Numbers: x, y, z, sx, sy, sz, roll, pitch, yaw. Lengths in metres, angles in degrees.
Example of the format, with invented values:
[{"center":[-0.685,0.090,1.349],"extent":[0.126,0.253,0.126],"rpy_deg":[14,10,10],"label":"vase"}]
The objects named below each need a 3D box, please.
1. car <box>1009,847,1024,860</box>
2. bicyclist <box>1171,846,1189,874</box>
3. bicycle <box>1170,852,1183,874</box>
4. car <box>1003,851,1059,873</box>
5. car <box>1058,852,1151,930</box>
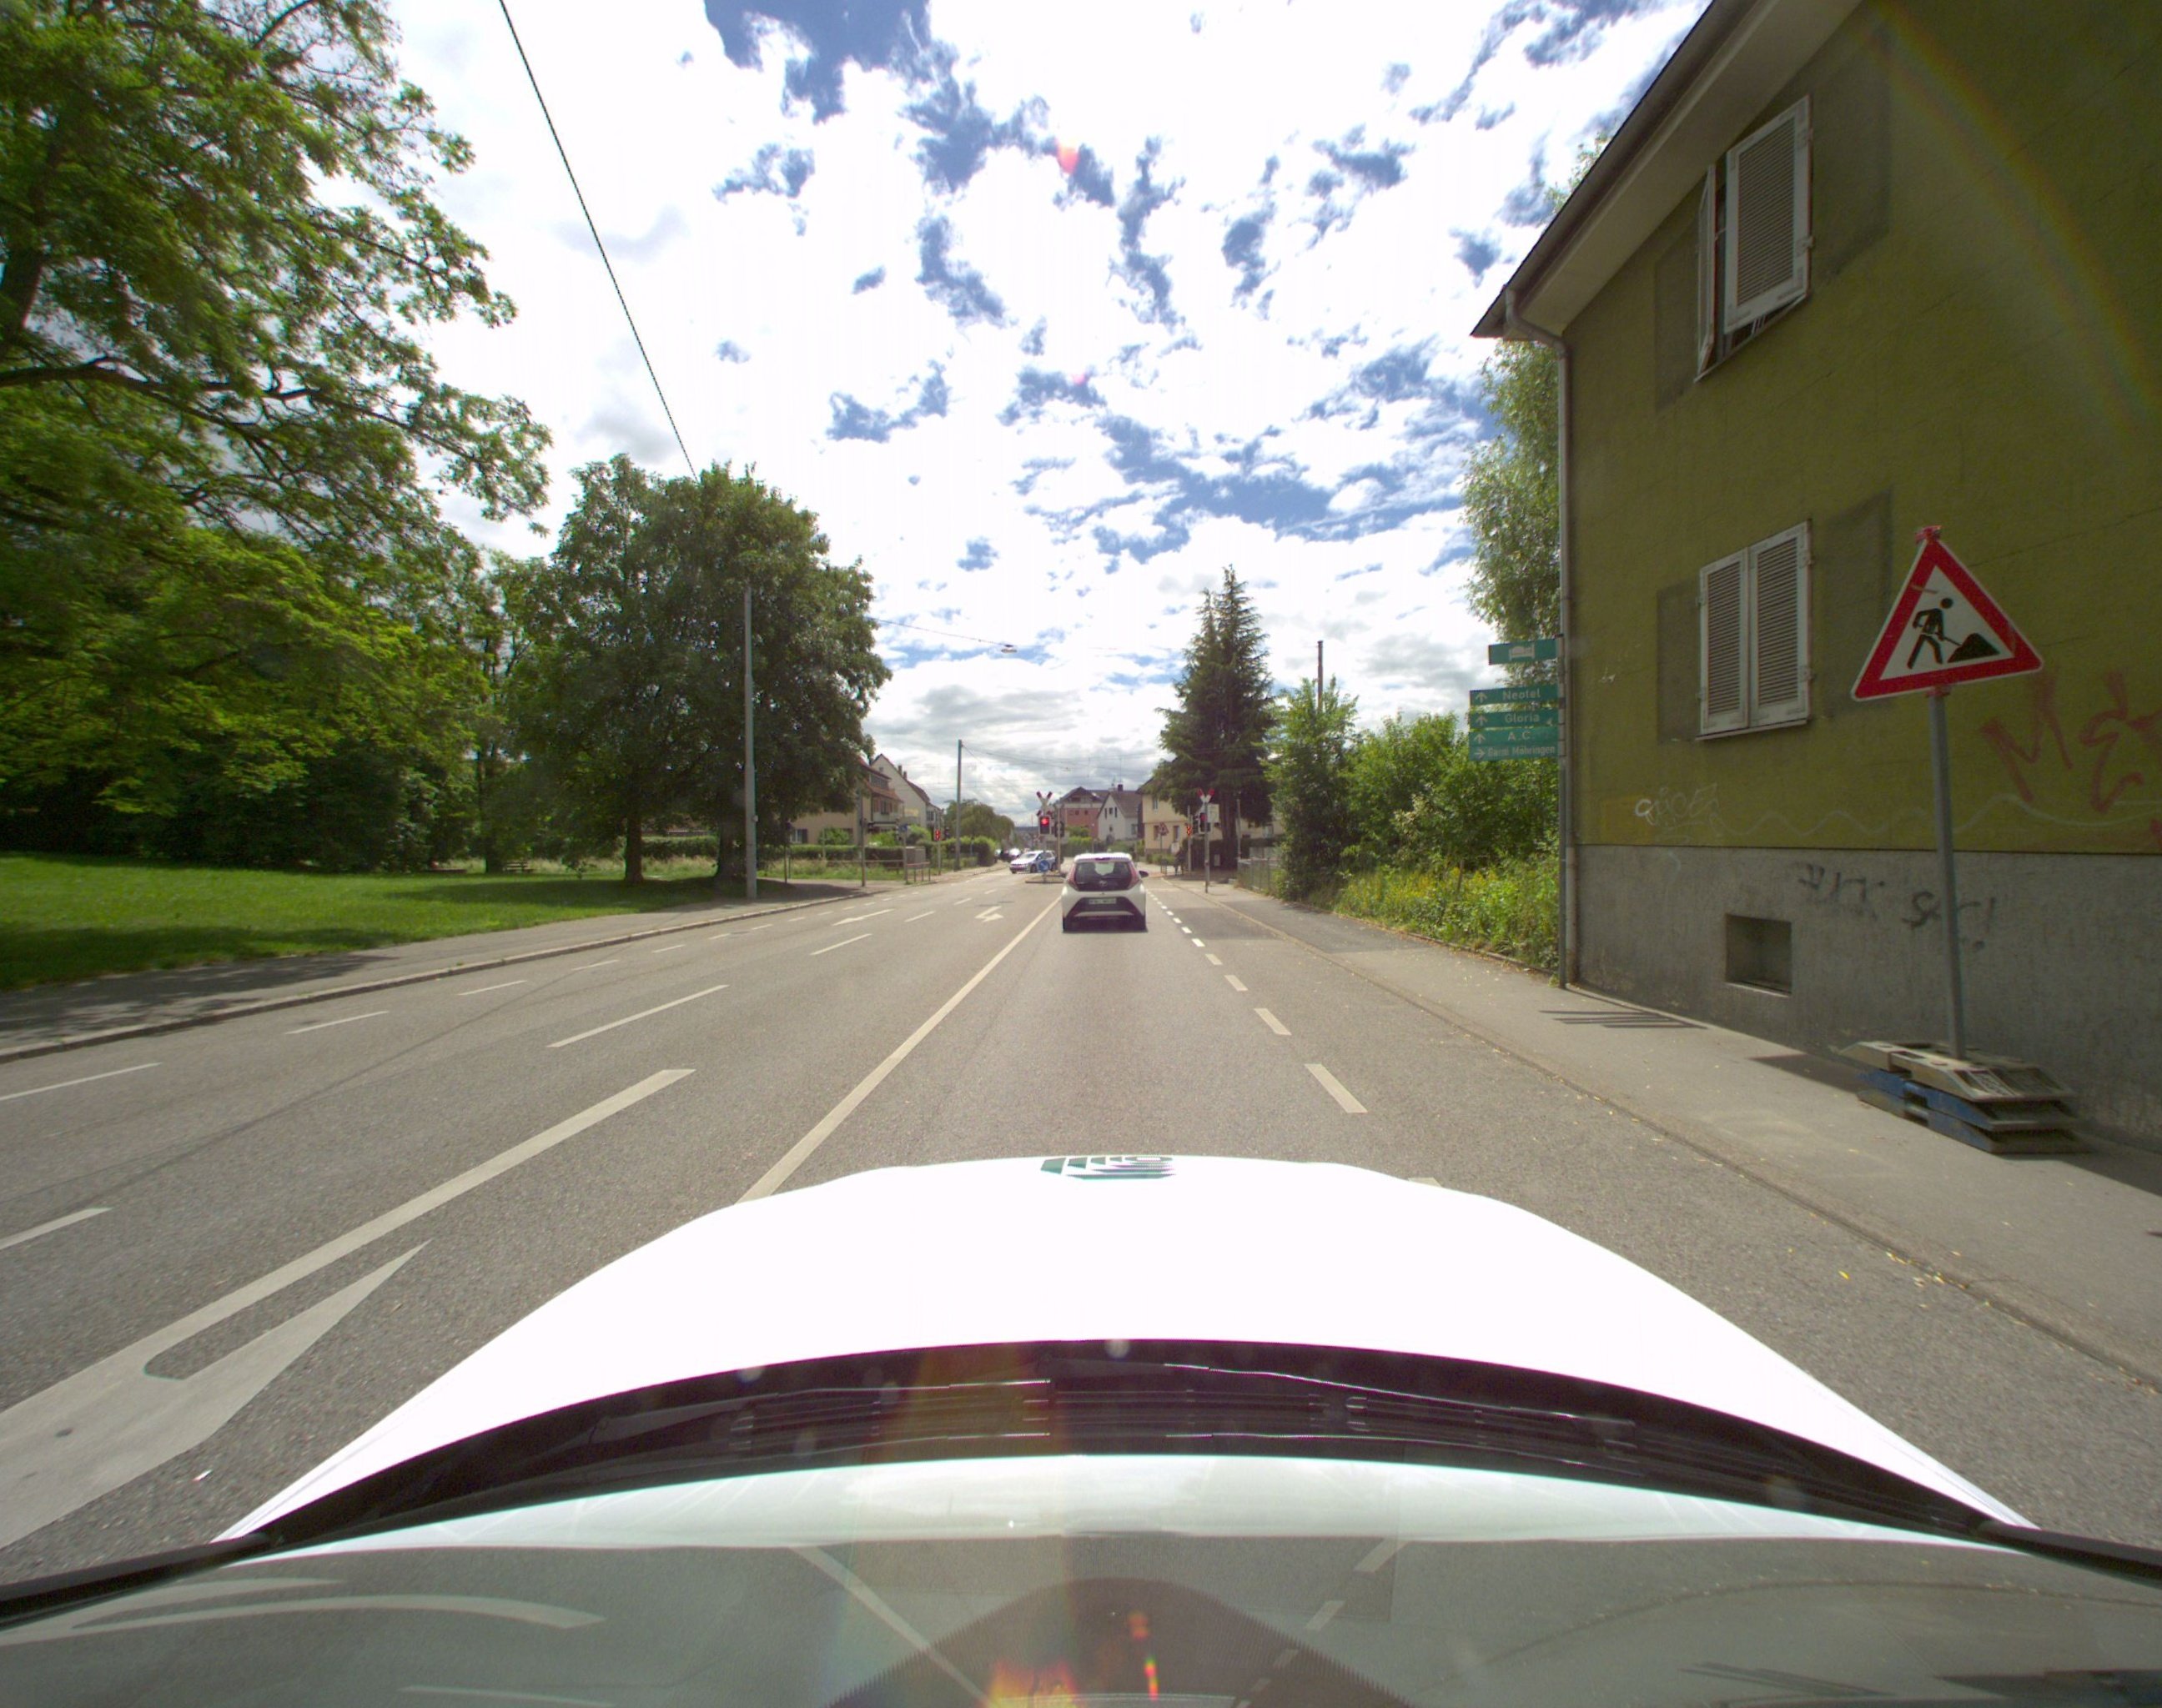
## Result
[{"center":[-8.537,-0.032,107.699],"extent":[1.990,1.719,3.994],"rpy_deg":[0,0,-4],"label":"car"},{"center":[5.834,0.325,48.105],"extent":[0.839,1.553,0.755],"rpy_deg":[-4,2,-4],"label":"bicyclist"},{"center":[5.649,0.529,48.158],"extent":[0.456,1.172,1.477],"rpy_deg":[-4,3,-4],"label":"bicycle"},{"center":[-3.444,0.543,56.476],"extent":[1.887,1.441,4.124],"rpy_deg":[0,0,30],"label":"car"},{"center":[0.399,0.676,16.881],"extent":[1.716,1.442,3.706],"rpy_deg":[0,0,-2],"label":"car"}]
